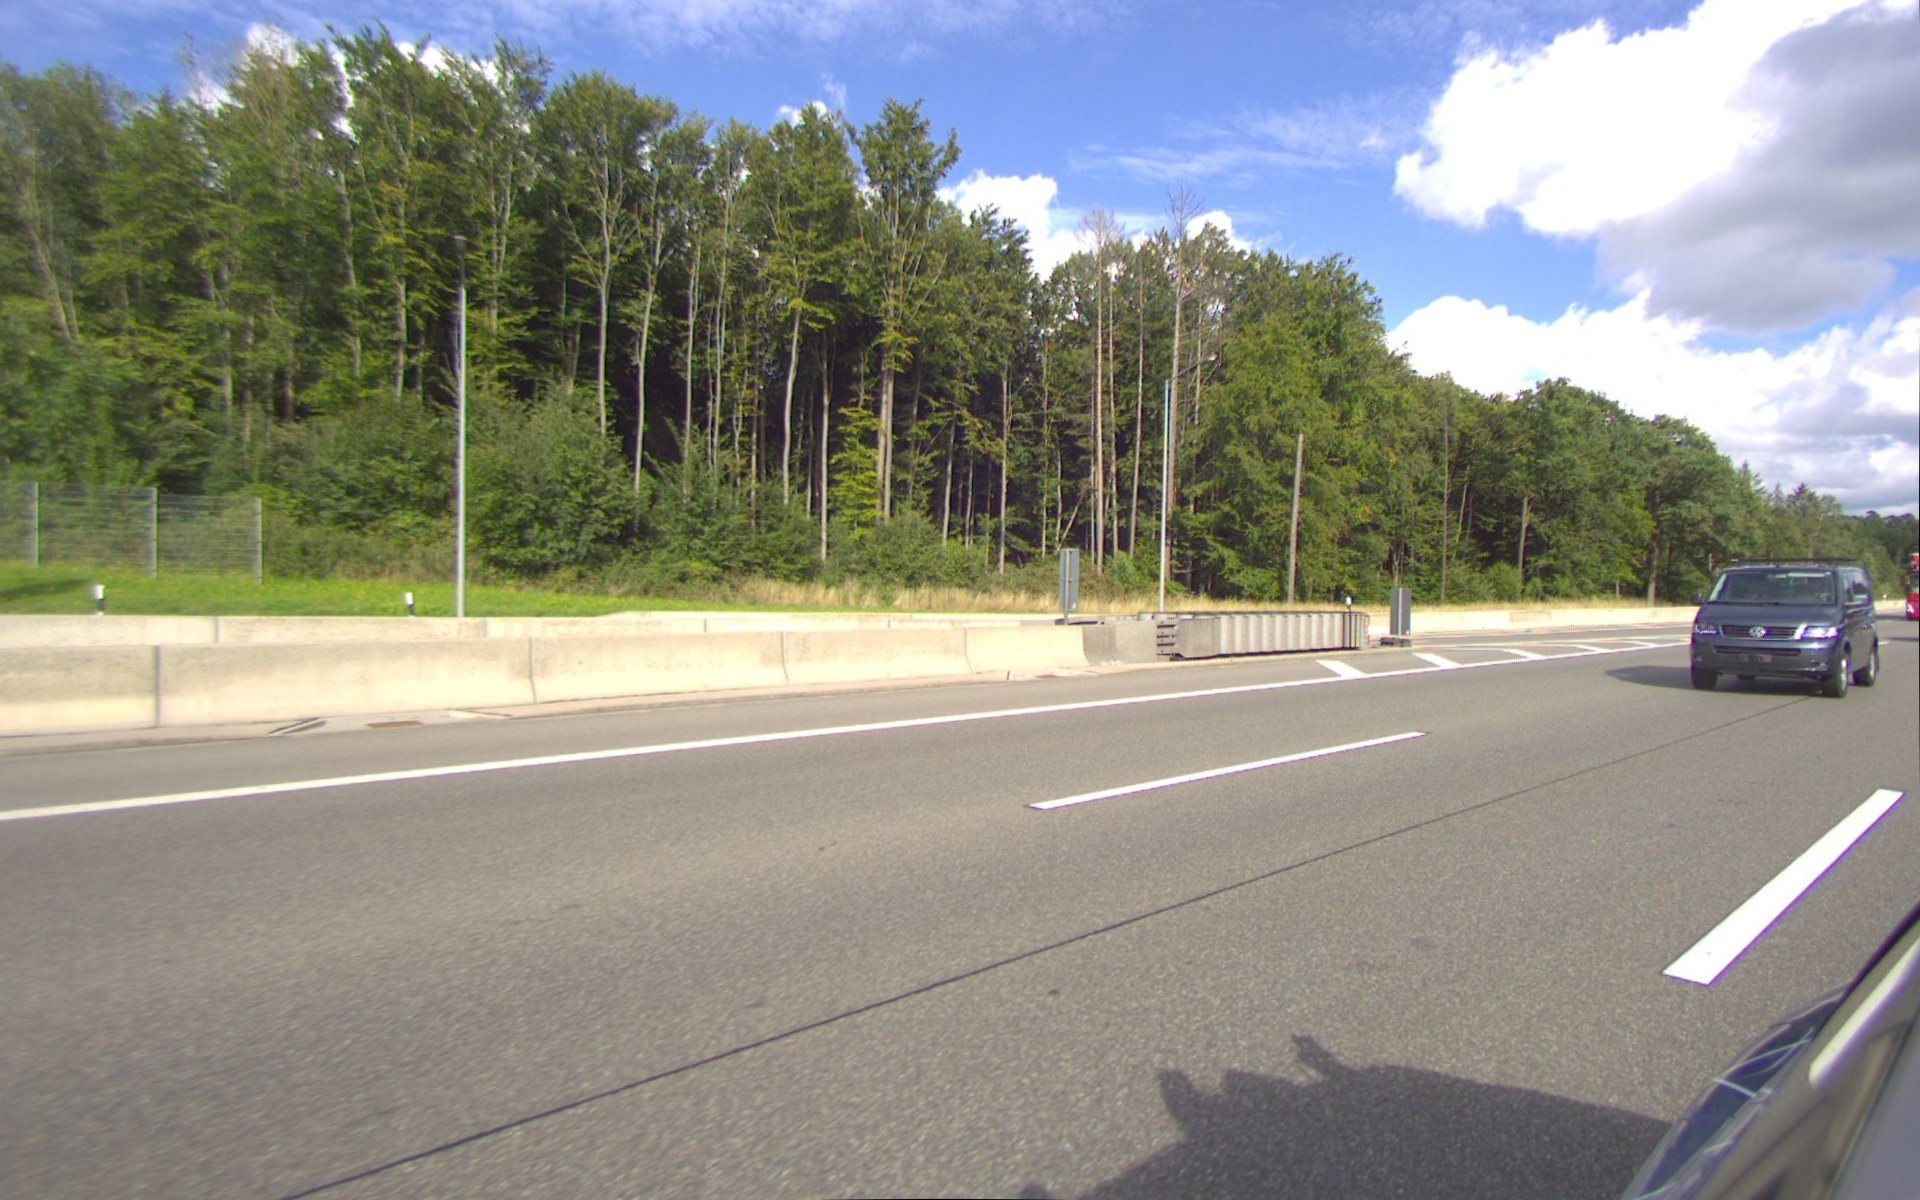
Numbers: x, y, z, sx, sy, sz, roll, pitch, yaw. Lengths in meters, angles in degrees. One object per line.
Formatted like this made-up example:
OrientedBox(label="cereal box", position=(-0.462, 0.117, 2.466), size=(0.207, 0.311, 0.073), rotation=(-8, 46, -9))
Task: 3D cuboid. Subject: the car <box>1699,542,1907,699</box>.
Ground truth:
OrientedBox(label="car", position=(13.822, 0.231, 16.487), size=(4.876, 2.192, 1.925), rotation=(-1, 2, -42))
